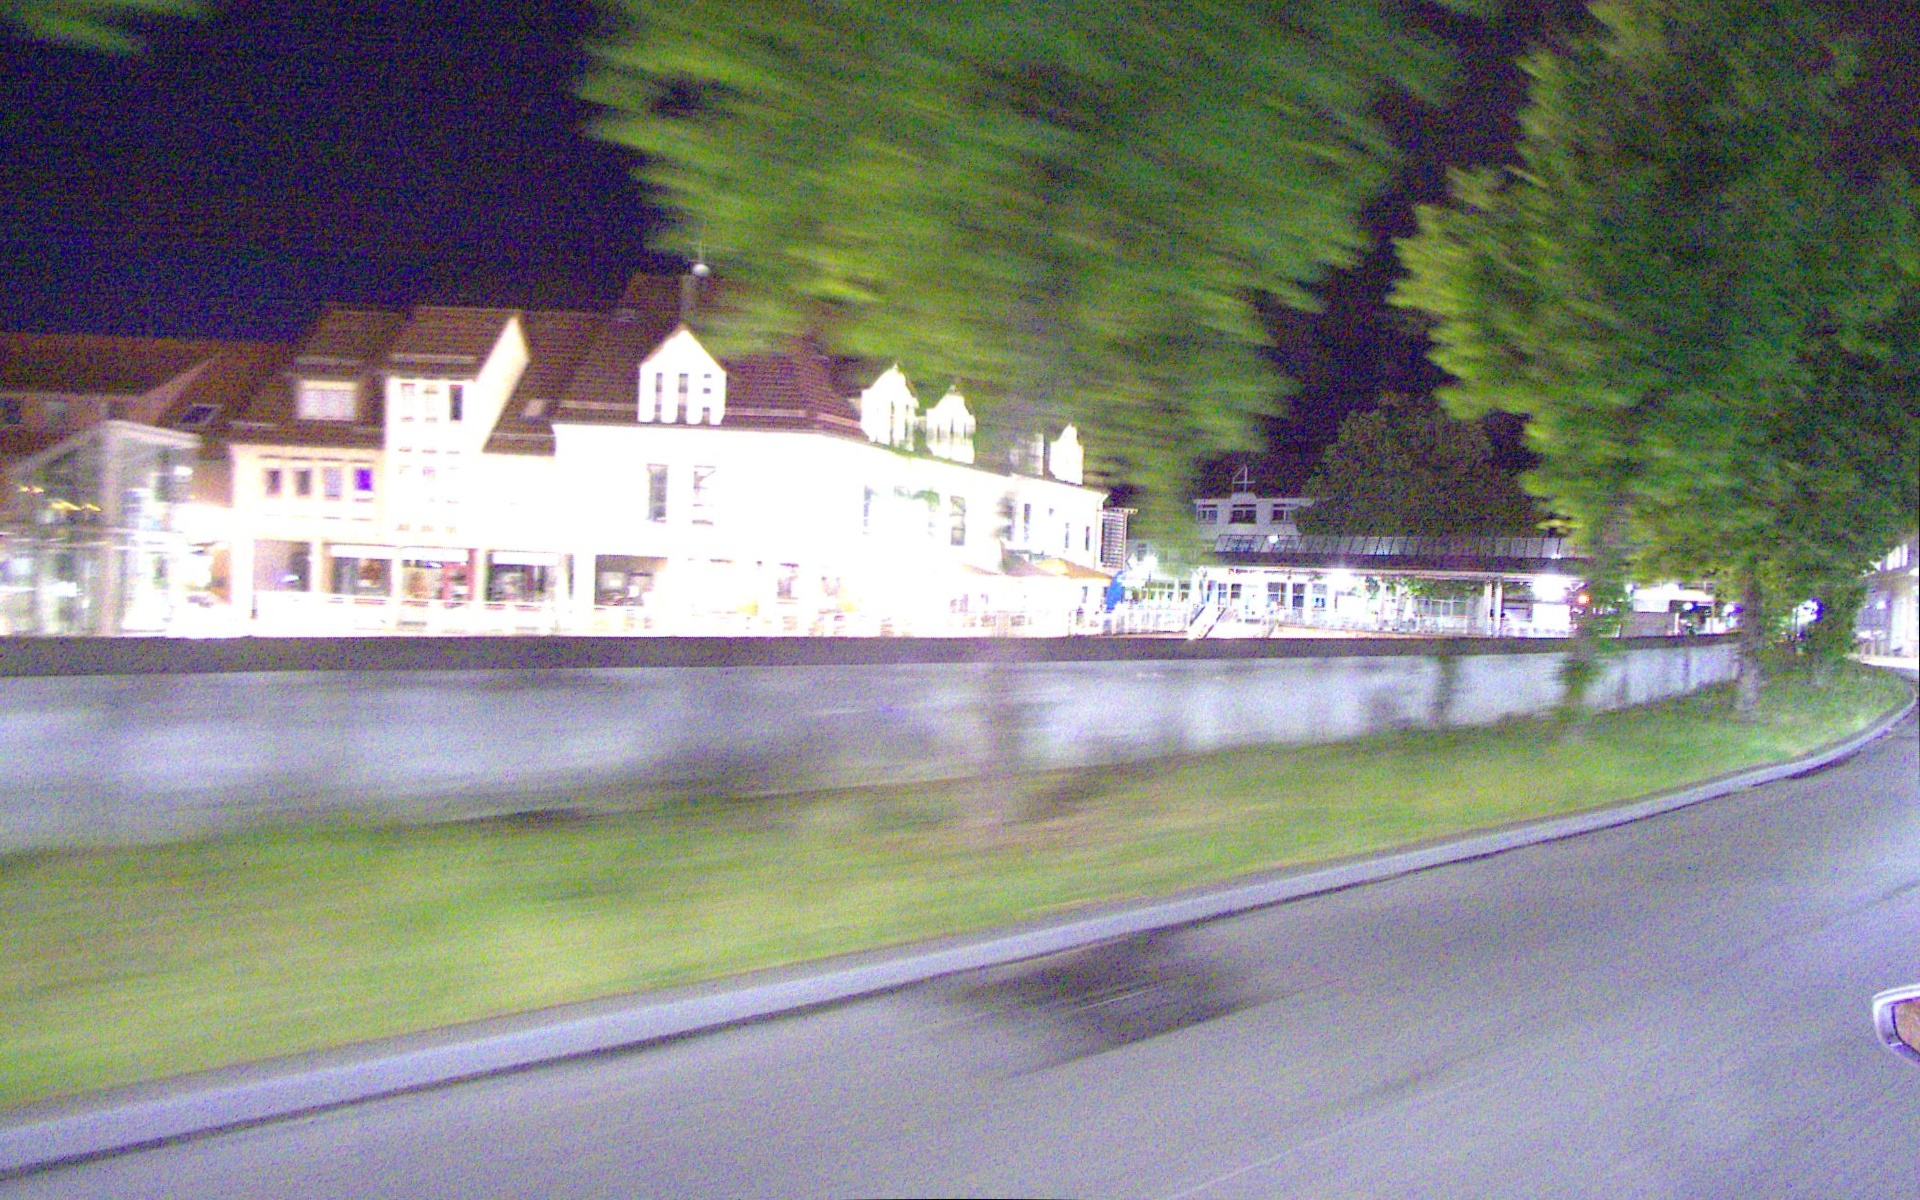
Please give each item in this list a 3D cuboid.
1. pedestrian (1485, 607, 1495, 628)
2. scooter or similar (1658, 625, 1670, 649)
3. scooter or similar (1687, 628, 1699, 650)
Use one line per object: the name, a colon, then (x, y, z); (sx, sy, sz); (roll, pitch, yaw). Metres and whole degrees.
pedestrian: (39.413, 1.315, 74.687); (0.451, 1.566, 0.482); (1, 1, 1)
scooter or similar: (38.744, 2.027, 55.305); (0.424, 1.302, 1.144); (1, 0, 31)
scooter or similar: (39.852, 2.129, 54.638); (0.424, 1.150, 1.002); (1, 0, 31)
